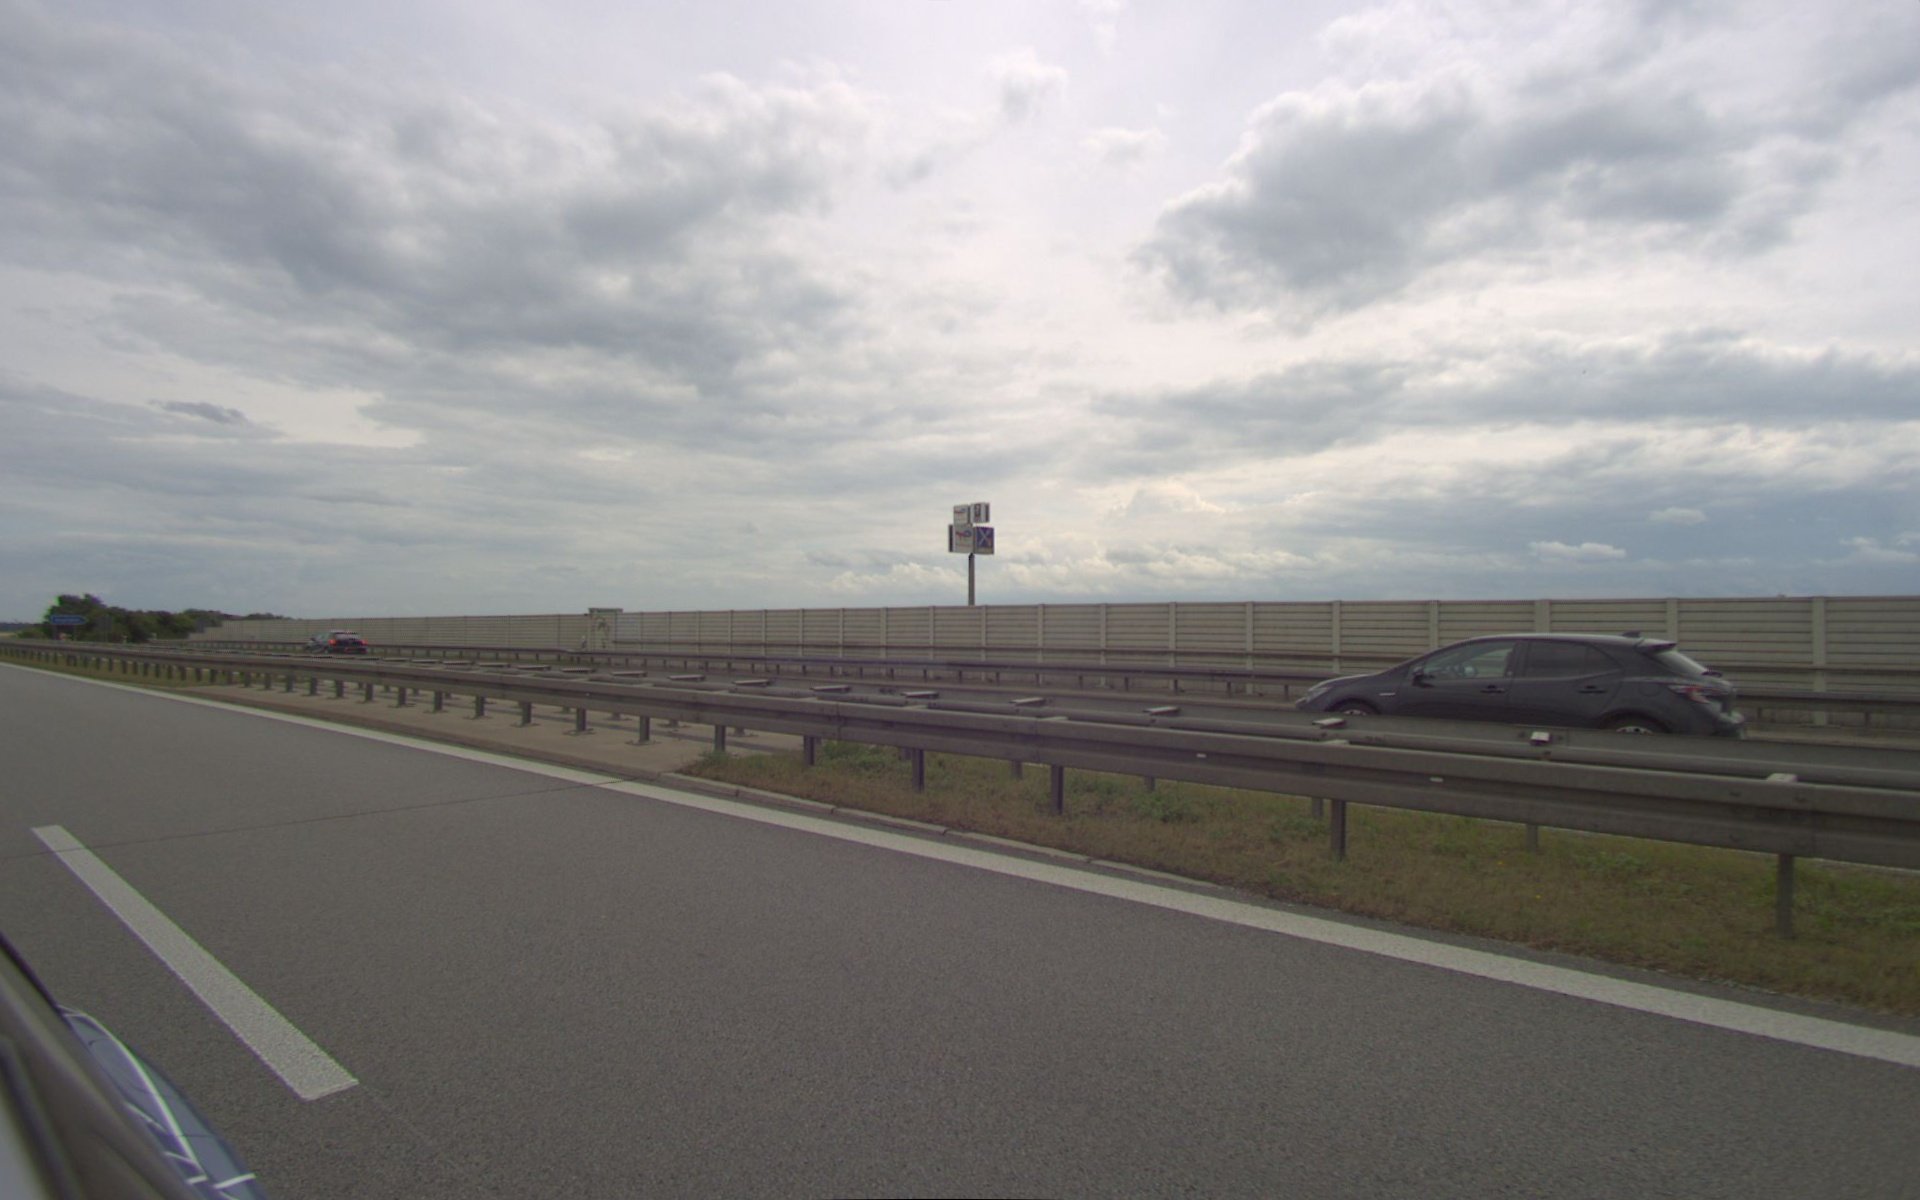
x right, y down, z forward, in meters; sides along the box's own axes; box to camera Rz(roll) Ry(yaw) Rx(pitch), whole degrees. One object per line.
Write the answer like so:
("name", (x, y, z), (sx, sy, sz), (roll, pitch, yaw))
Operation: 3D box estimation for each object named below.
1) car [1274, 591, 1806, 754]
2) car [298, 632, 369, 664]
("car", (5.981, 0.749, 10.836), (4.681, 1.384, 1.777), (-1, -7, 41))
("car", (-30.929, 2.332, 49.878), (4.564, 1.506, 1.686), (-1, -3, 41))
